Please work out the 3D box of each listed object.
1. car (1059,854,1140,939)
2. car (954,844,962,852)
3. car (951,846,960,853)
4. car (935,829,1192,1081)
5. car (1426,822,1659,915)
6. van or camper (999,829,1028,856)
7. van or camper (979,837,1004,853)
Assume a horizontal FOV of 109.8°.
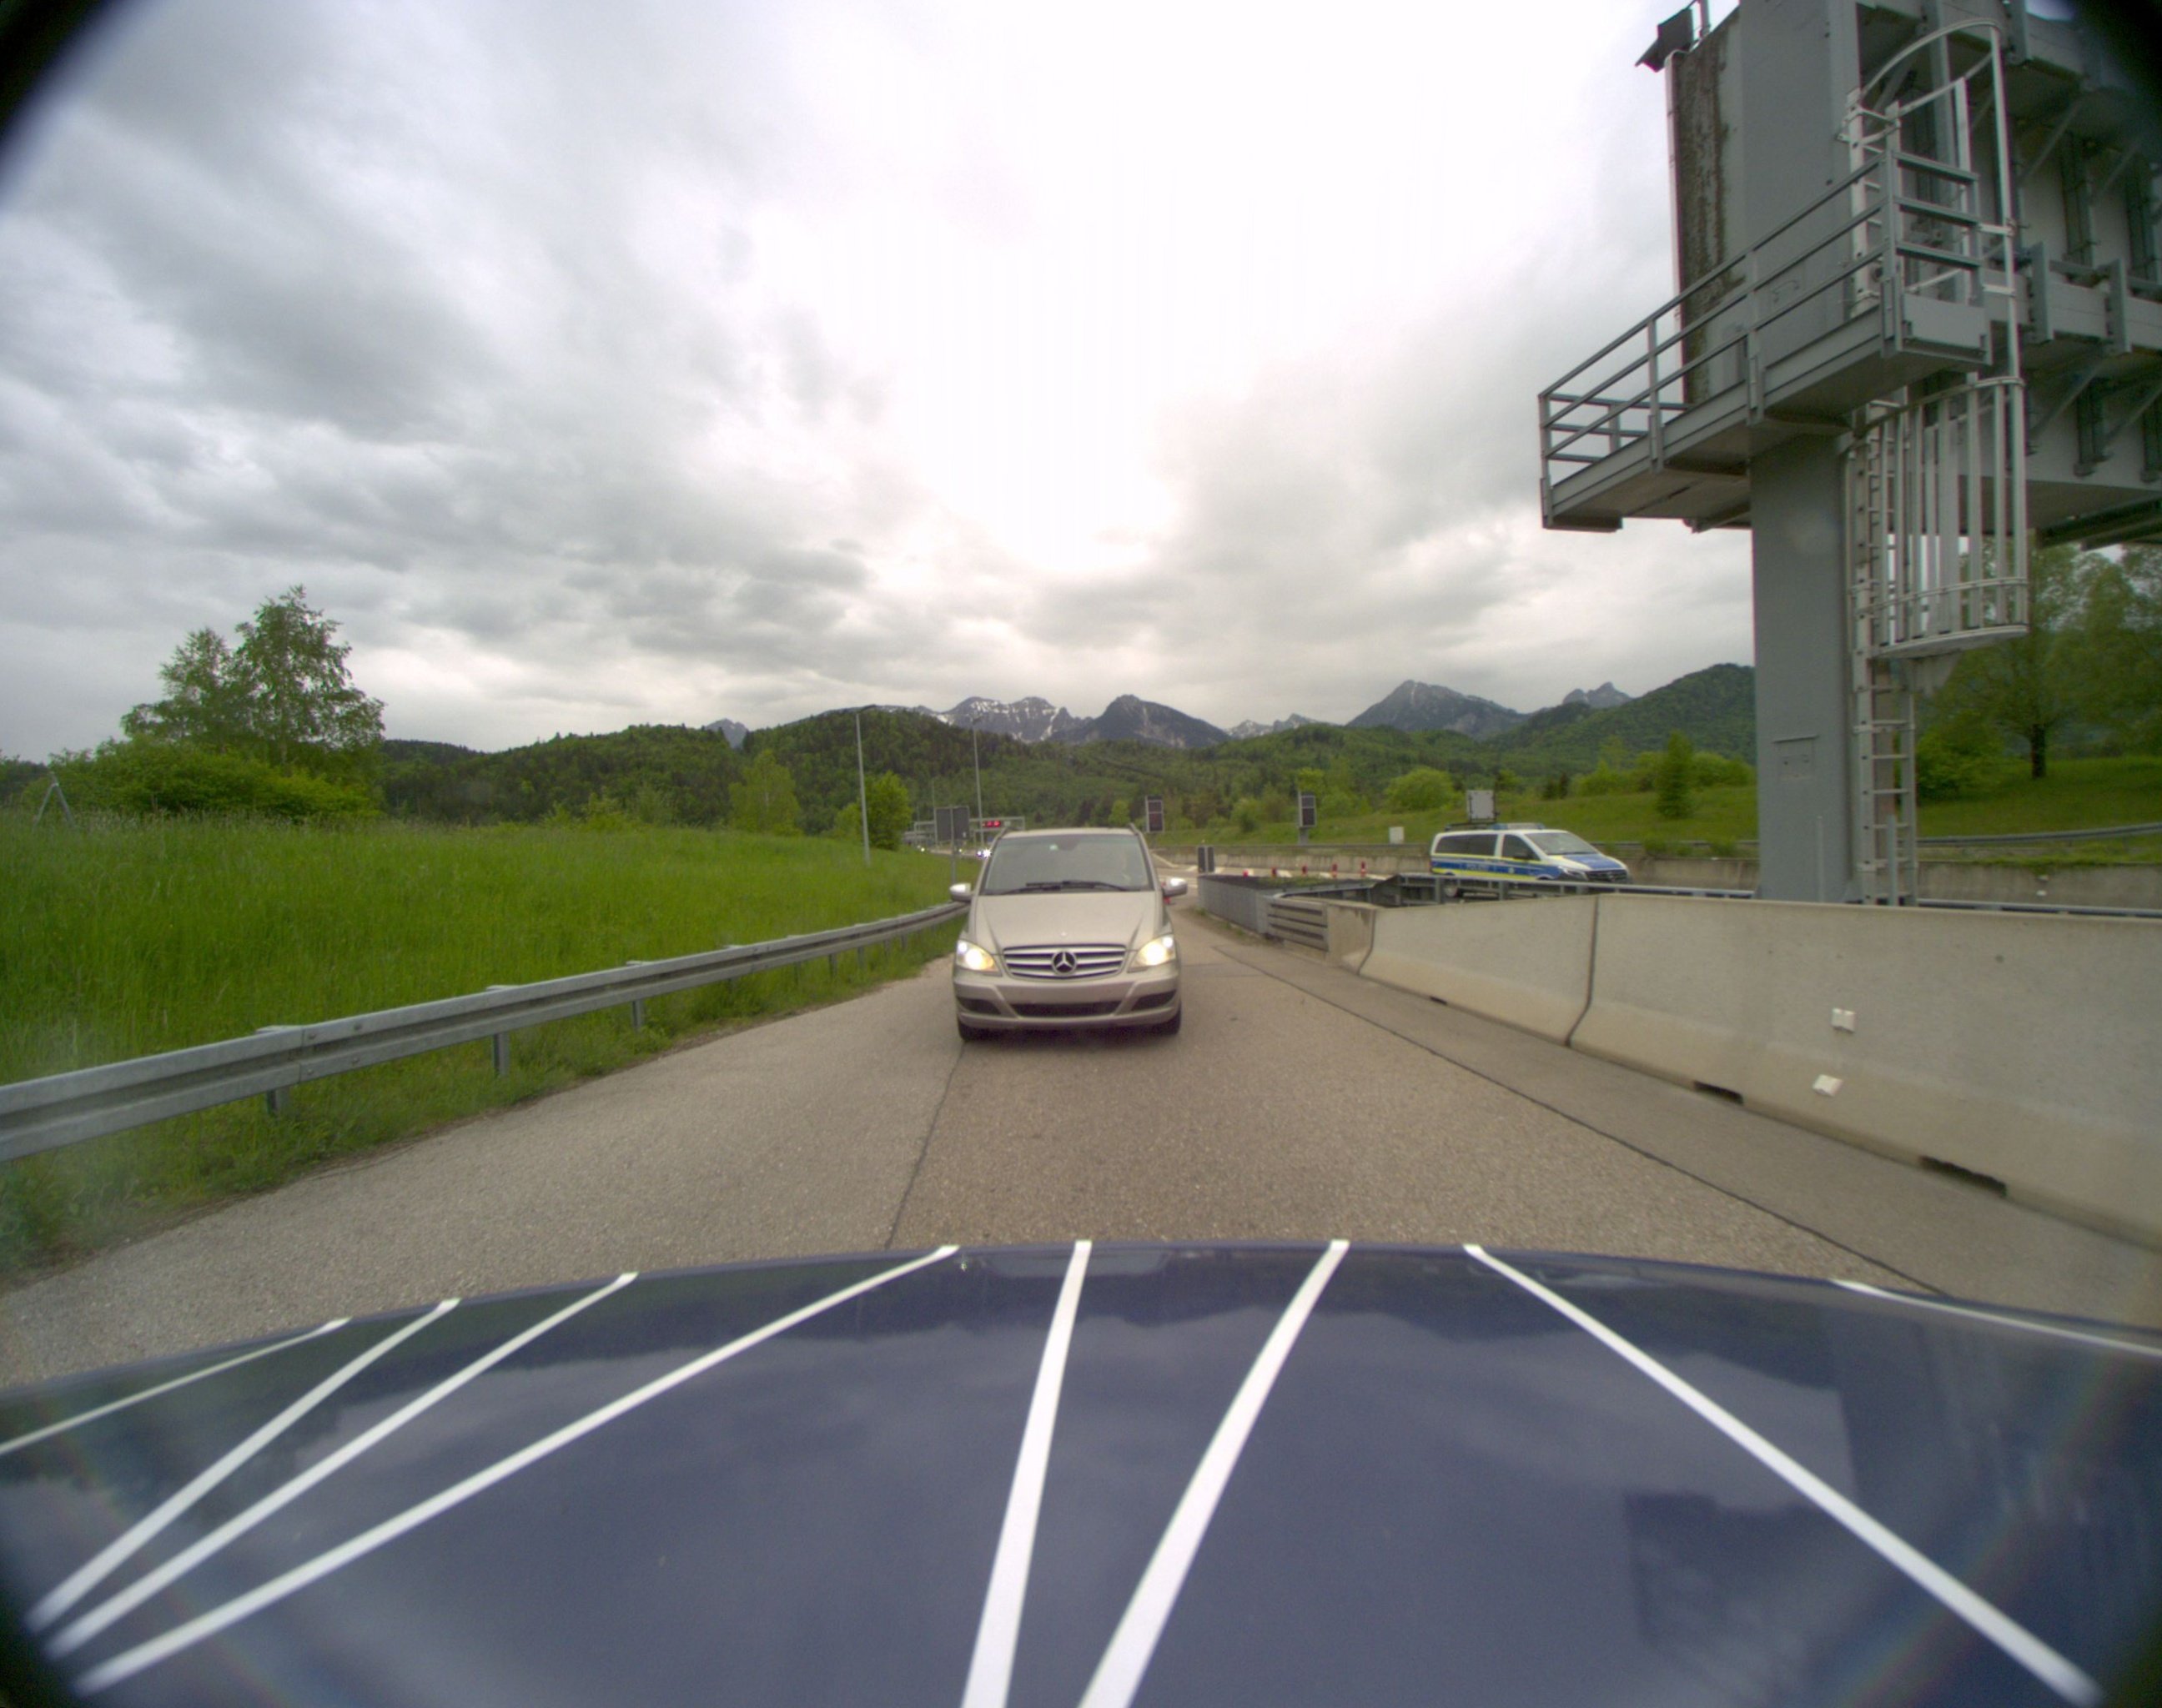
[{"bbox_3d":[0.415,0.848,17.212,1.591,1.662,4.000,-1,0,1],"label":"car"},{"bbox_3d":[-28.860,-1.388,178.055,1.868,1.861,3.995,-1,1,-11],"label":"car"},{"bbox_3d":[-29.416,-1.140,178.332,1.722,1.629,4.342,-1,1,-14],"label":"car"},{"bbox_3d":[-0.094,0.712,8.416,1.862,1.833,5.616,-1,1,1],"label":"car"},{"bbox_3d":[11.339,0.279,19.215,2.106,2.002,5.045,-2,1,-13],"label":"car"},{"bbox_3d":[-8.901,-1.522,99.673,2.585,3.372,7.345,-2,1,-14],"label":"van or camper"},{"bbox_3d":[-16.200,-1.605,136.723,3.345,2.629,8.189,-1,1,-15],"label":"van or camper"}]
